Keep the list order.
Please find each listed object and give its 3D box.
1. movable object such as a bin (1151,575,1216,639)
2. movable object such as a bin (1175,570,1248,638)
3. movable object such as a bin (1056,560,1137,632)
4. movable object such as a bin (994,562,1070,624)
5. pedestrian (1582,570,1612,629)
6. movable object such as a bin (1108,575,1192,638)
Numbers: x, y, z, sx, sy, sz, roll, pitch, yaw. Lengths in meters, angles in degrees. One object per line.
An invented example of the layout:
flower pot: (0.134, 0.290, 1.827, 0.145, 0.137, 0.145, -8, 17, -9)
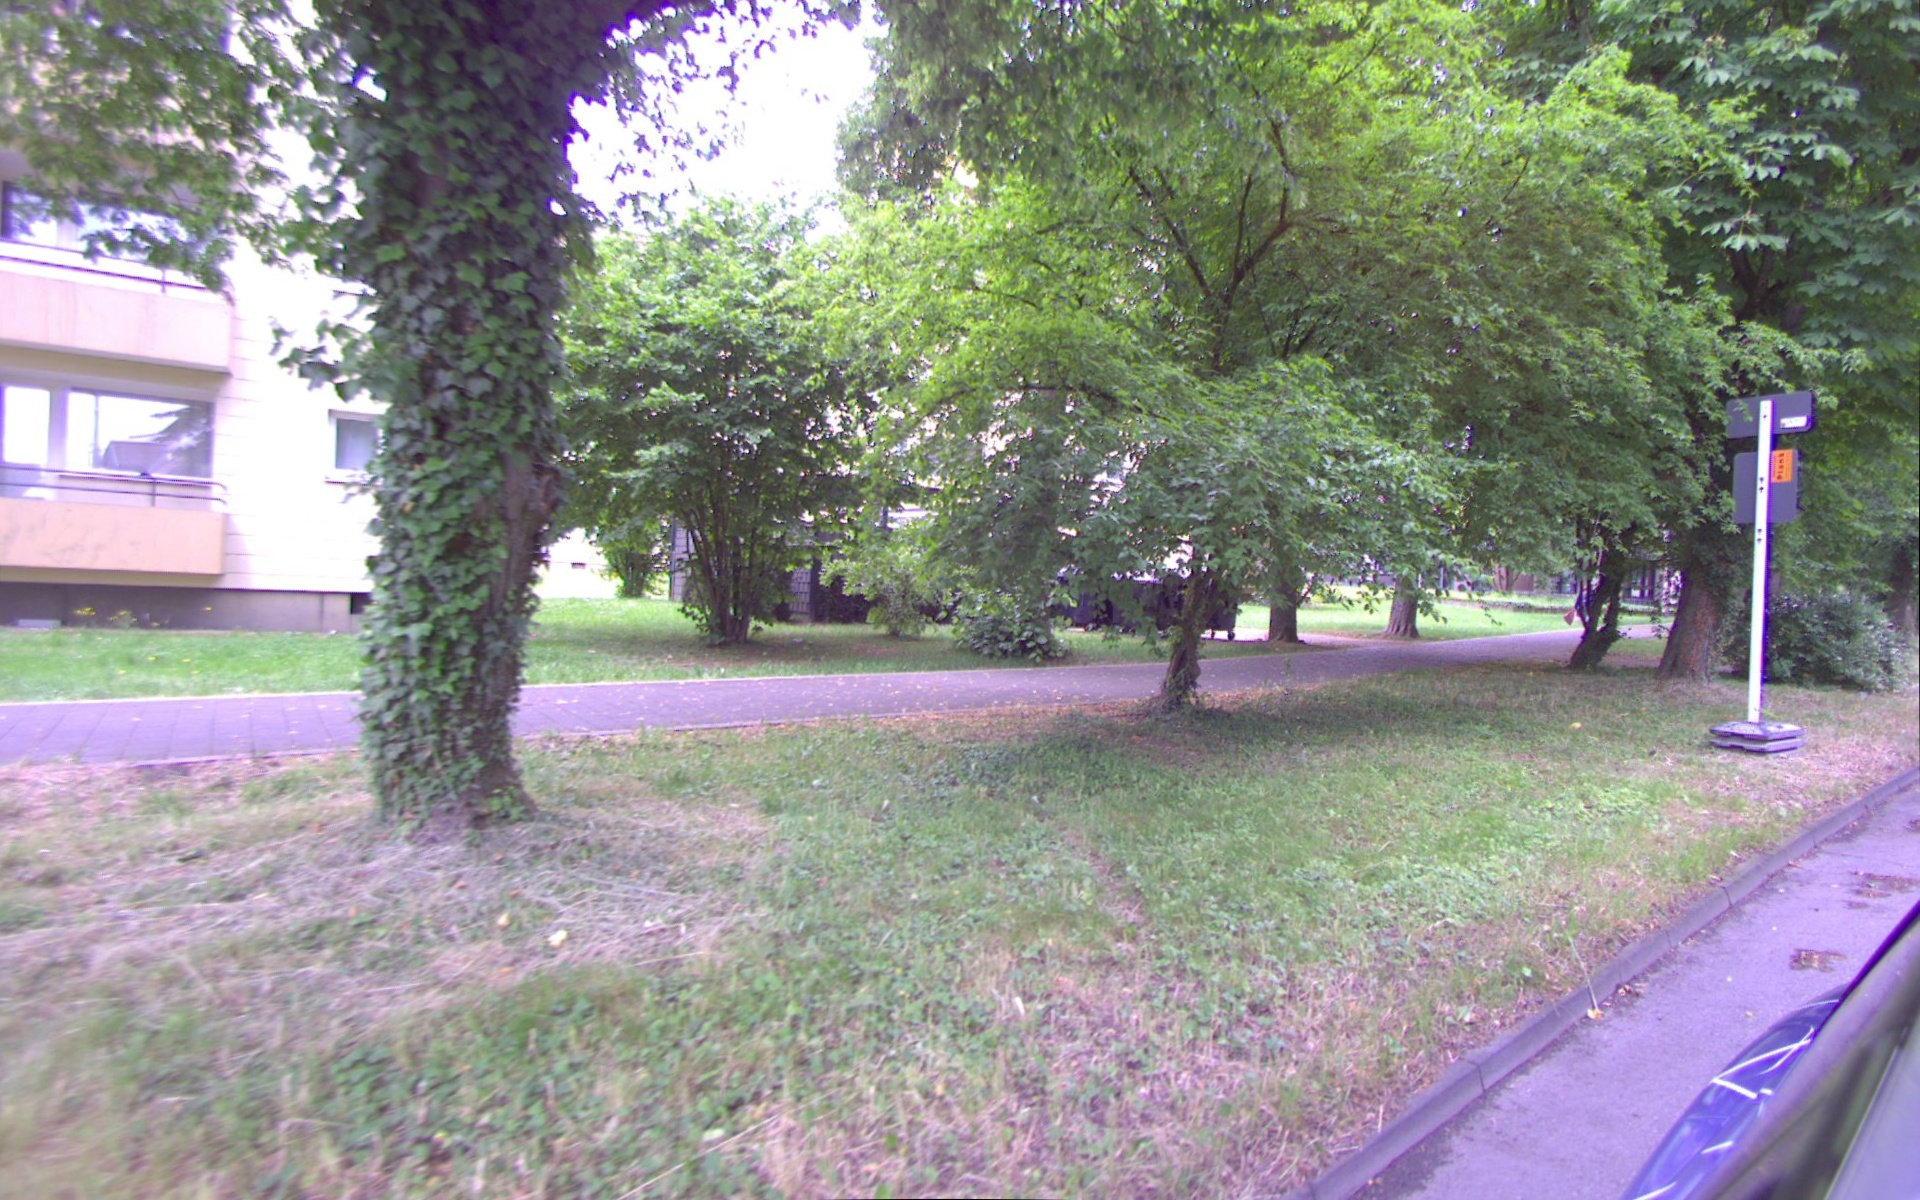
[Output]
movable object such as a bin: (4.839, 0.136, 21.897, 1.022, 1.320, 0.946, 3, 2, 40)
movable object such as a bin: (5.625, 0.073, 22.632, 1.189, 1.431, 1.095, 3, 2, 40)
movable object such as a bin: (2.961, -0.103, 21.955, 1.189, 1.474, 1.329, 3, 2, 40)
movable object such as a bin: (1.670, -0.171, 23.401, 1.189, 1.358, 1.329, 3, 2, 40)
pedestrian: (19.613, -0.025, 31.178, 0.560, 1.761, 0.565, 1, 3, -43)
movable object such as a bin: (3.967, 0.118, 21.105, 1.189, 1.235, 1.329, 3, 2, 40)
